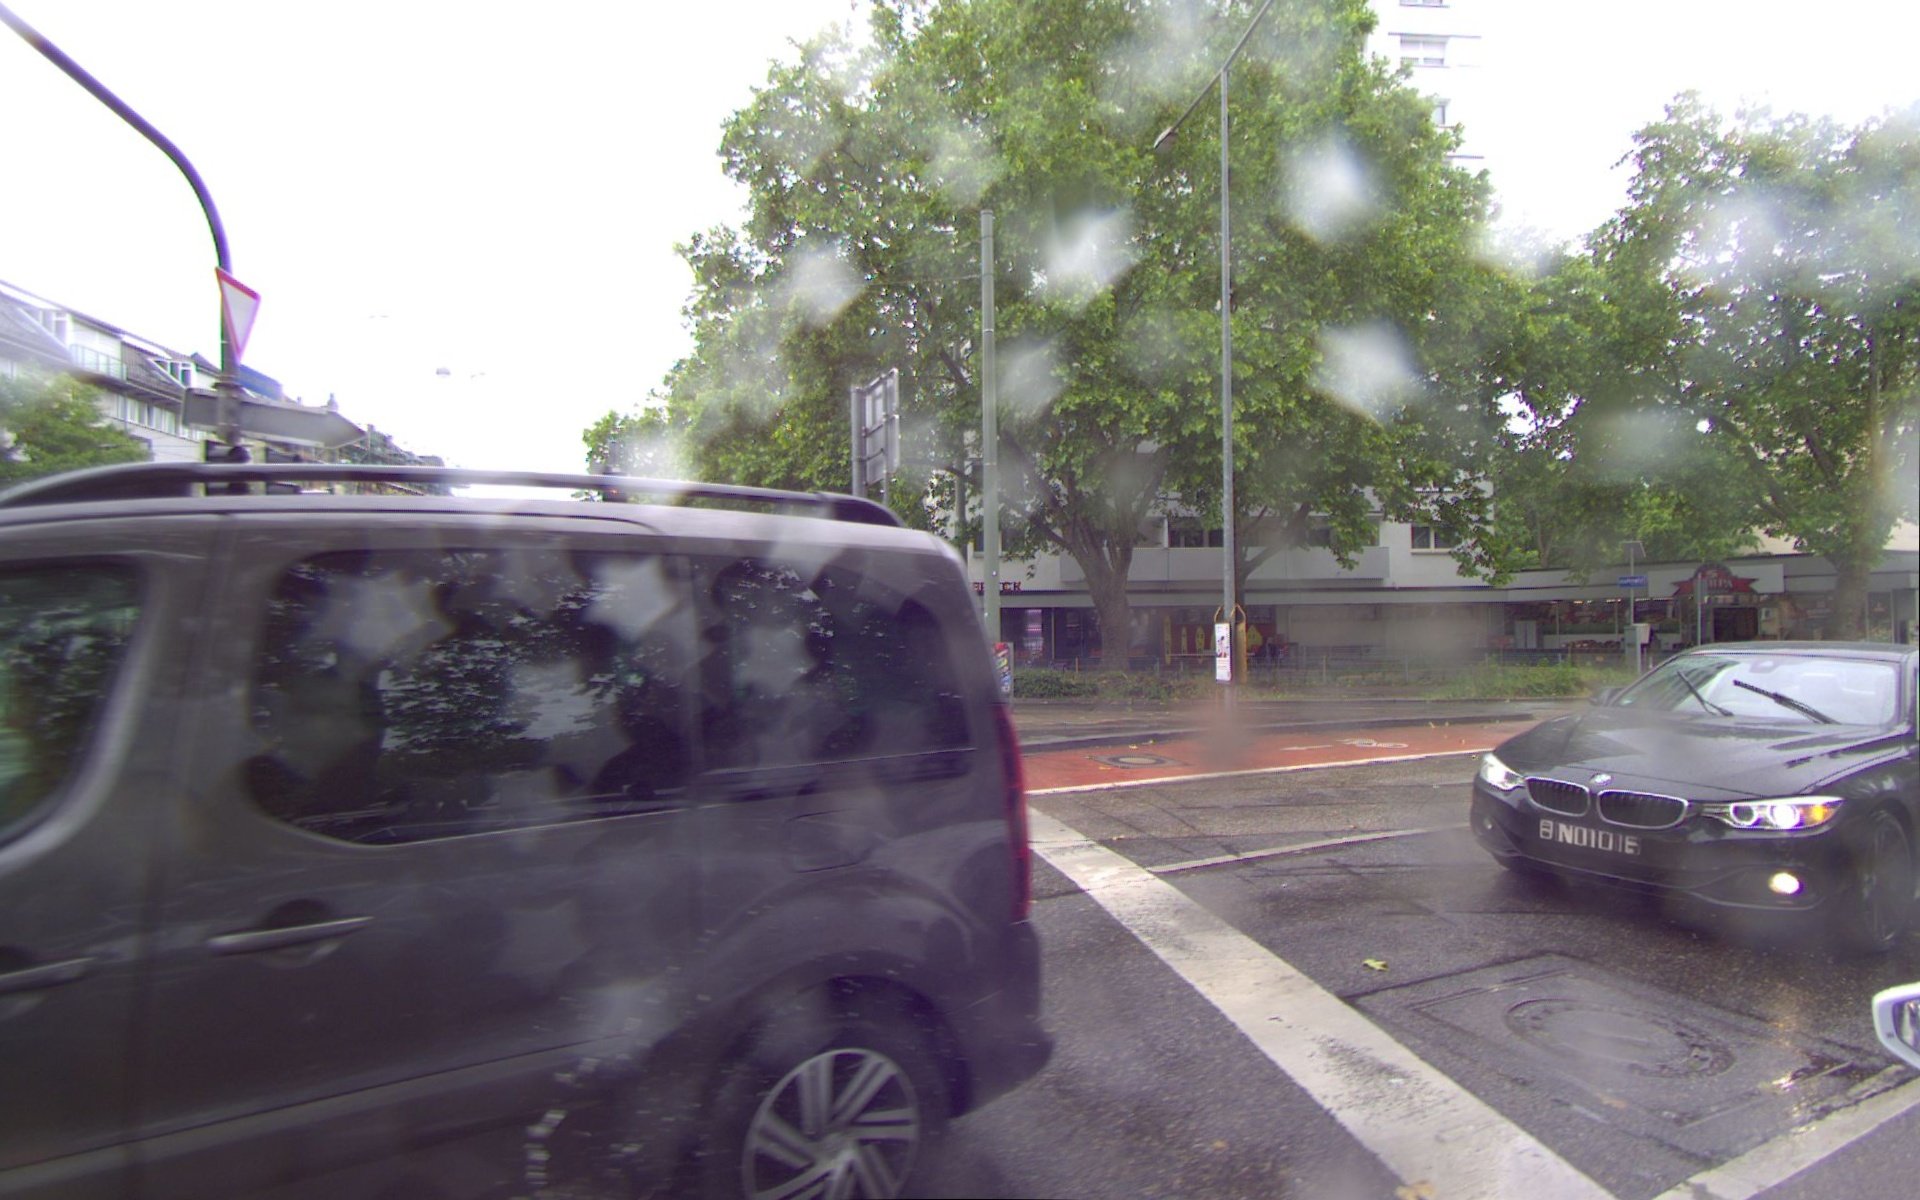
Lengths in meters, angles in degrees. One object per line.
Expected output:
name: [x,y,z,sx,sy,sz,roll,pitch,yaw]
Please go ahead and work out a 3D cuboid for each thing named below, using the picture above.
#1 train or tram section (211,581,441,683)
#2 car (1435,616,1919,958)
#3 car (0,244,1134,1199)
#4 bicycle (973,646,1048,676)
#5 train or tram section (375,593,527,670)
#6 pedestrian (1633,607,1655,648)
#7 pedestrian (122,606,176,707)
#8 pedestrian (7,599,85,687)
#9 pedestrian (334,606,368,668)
train or tram section: [-25.373,1.338,41.307,3.014,3.550,11.571,-1,-2,-5]
car: [4.970,0.819,5.967,4.309,1.408,1.735,1,-1,-29]
car: [-1.771,0.438,2.338,4.059,1.886,1.799,0,-2,-29]
bicycle: [1.594,1.903,31.604,2.271,0.880,0.639,0,-1,19]
train or tram section: [-26.356,1.701,52.843,3.014,3.550,11.571,-1,-2,-5]
pedestrian: [27.718,1.116,40.695,0.637,1.650,0.564,1,-2,-44]
pedestrian: [-17.291,1.193,21.438,0.625,2.105,0.701,-1,-2,-10]
pedestrian: [-17.932,0.847,19.730,0.779,1.670,0.816,-1,-2,-6]
pedestrian: [-18.436,1.123,30.418,0.628,1.862,0.679,-1,-2,-6]
